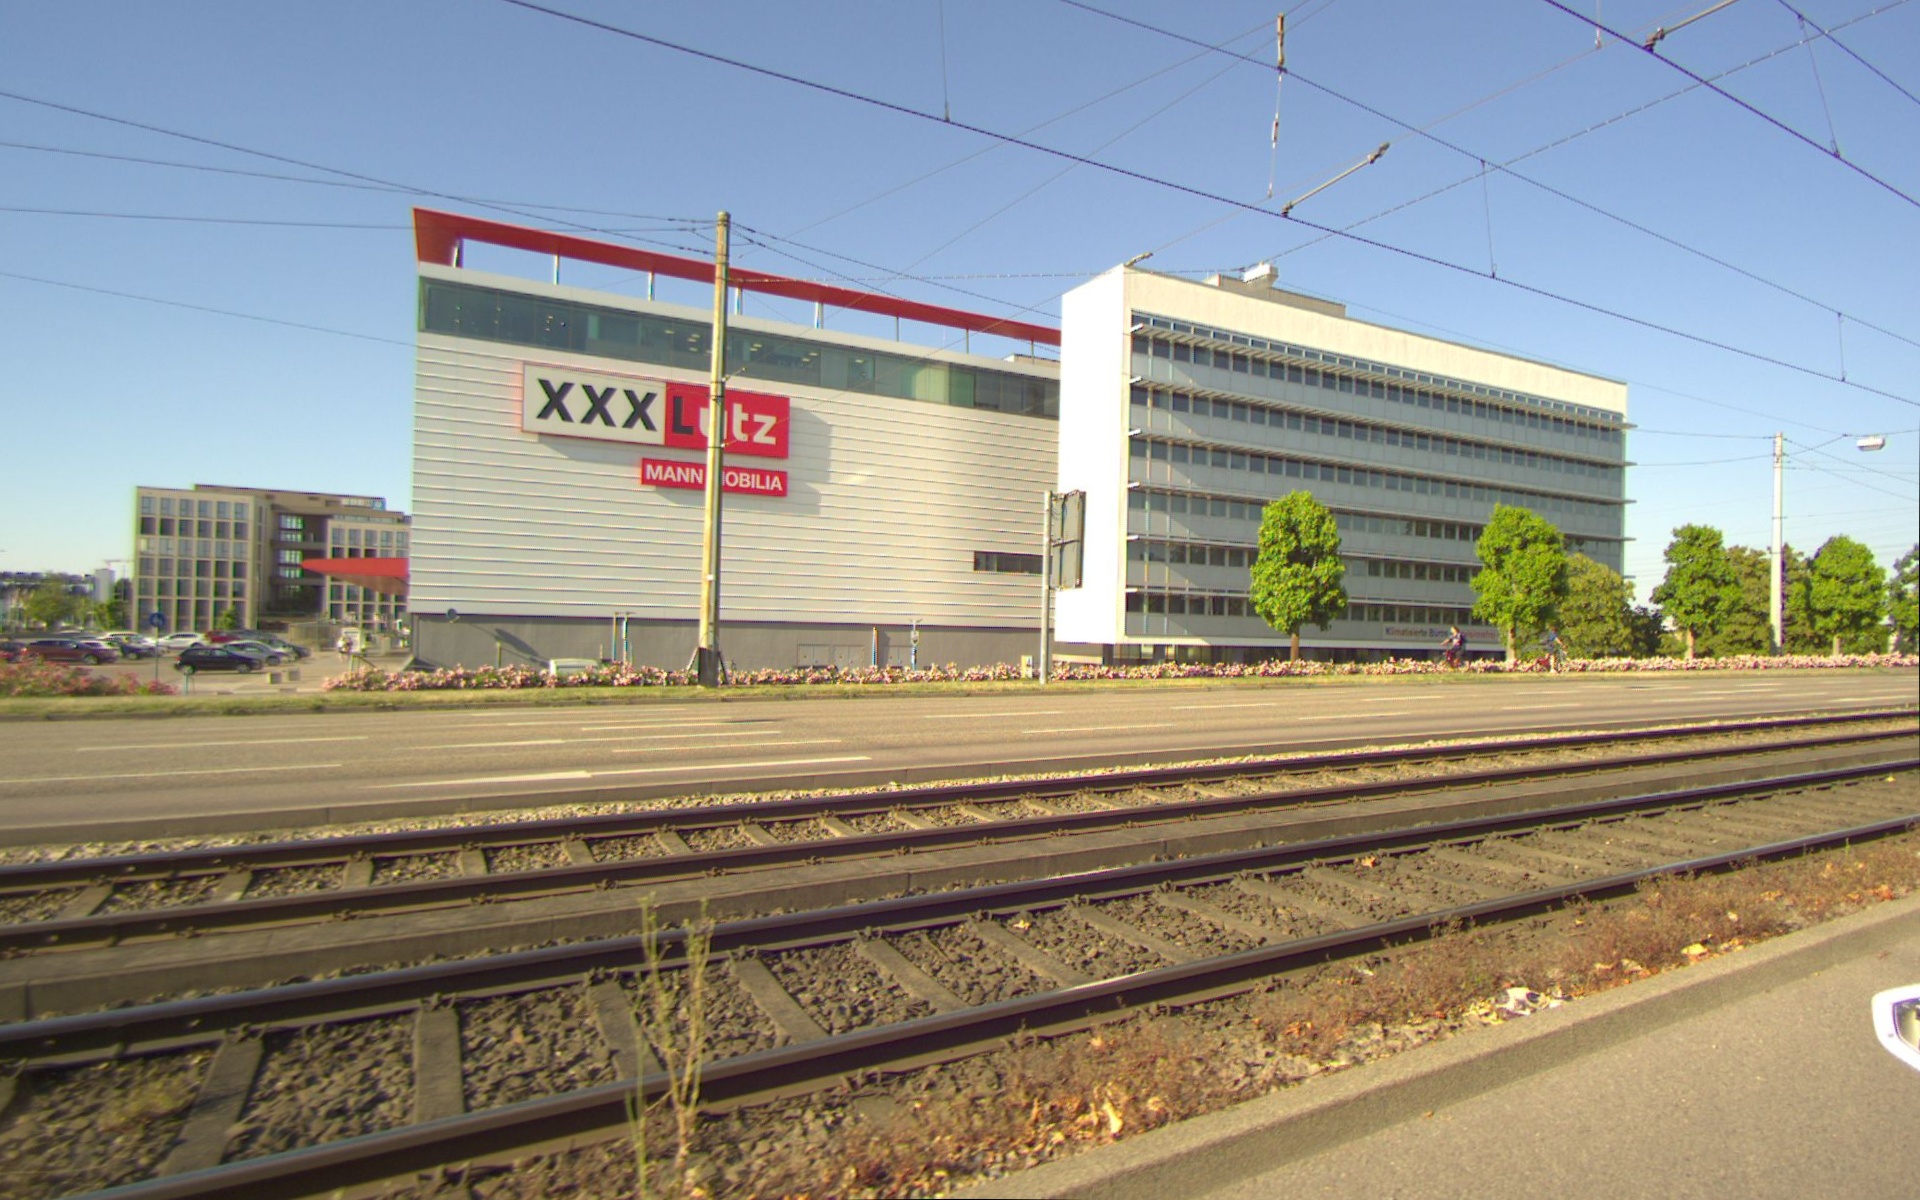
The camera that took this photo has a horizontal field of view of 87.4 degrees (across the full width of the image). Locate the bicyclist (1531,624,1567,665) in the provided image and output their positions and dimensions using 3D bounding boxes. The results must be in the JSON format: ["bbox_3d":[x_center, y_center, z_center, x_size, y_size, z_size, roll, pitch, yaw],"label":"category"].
[{"bbox_3d":[22.368,1.685,38.152,0.956,1.533,0.703,1,1,-23],"label":"bicyclist"}]

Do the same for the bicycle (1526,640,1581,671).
[{"bbox_3d":[22.615,2.107,38.271,1.998,1.088,0.703,1,1,-23],"label":"bicycle"}]

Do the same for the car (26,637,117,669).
[{"bbox_3d":[-56.080,3.302,63.516,3.954,1.838,1.983,1,1,-31],"label":"car"}]

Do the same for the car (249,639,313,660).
[{"bbox_3d":[-48.522,3.549,71.837,3.619,1.387,1.647,1,1,-28],"label":"car"}]

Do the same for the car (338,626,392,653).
[{"bbox_3d":[-43.303,2.867,73.169,3.248,1.880,1.500,1,1,-28],"label":"car"}]

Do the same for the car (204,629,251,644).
[{"bbox_3d":[-75.946,3.777,104.181,3.617,1.387,1.648,1,1,-26],"label":"car"}]

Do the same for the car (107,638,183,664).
[{"bbox_3d":[-57.686,3.601,71.153,3.957,1.640,1.862,1,1,-33],"label":"car"}]

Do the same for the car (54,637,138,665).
[{"bbox_3d":[-56.747,3.318,66.057,3.957,1.640,1.862,1,1,-33],"label":"car"}]

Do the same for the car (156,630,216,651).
[{"bbox_3d":[-66.763,3.489,86.703,3.961,1.640,1.860,1,1,-36],"label":"car"}]

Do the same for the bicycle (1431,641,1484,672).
[{"bbox_3d":[19.468,2.201,39.294,1.991,1.166,0.660,1,1,-20],"label":"bicycle"}]

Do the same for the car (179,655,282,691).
[{"bbox_3d":[-39.976,3.996,55.189,4.397,1.725,1.911,1,1,-31],"label":"car"}]

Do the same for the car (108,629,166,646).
[{"bbox_3d":[-78.694,3.598,96.105,3.949,1.468,1.866,1,1,-28],"label":"car"}]

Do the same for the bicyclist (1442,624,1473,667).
[{"bbox_3d":[19.433,1.777,39.266,0.789,1.645,0.660,1,1,-20],"label":"bicyclist"}]

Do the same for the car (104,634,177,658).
[{"bbox_3d":[-61.026,3.418,74.886,3.957,1.640,1.862,1,1,-33],"label":"car"}]

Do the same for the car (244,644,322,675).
[{"bbox_3d":[-42.861,3.736,63.671,3.954,1.725,1.911,1,1,-31],"label":"car"}]
